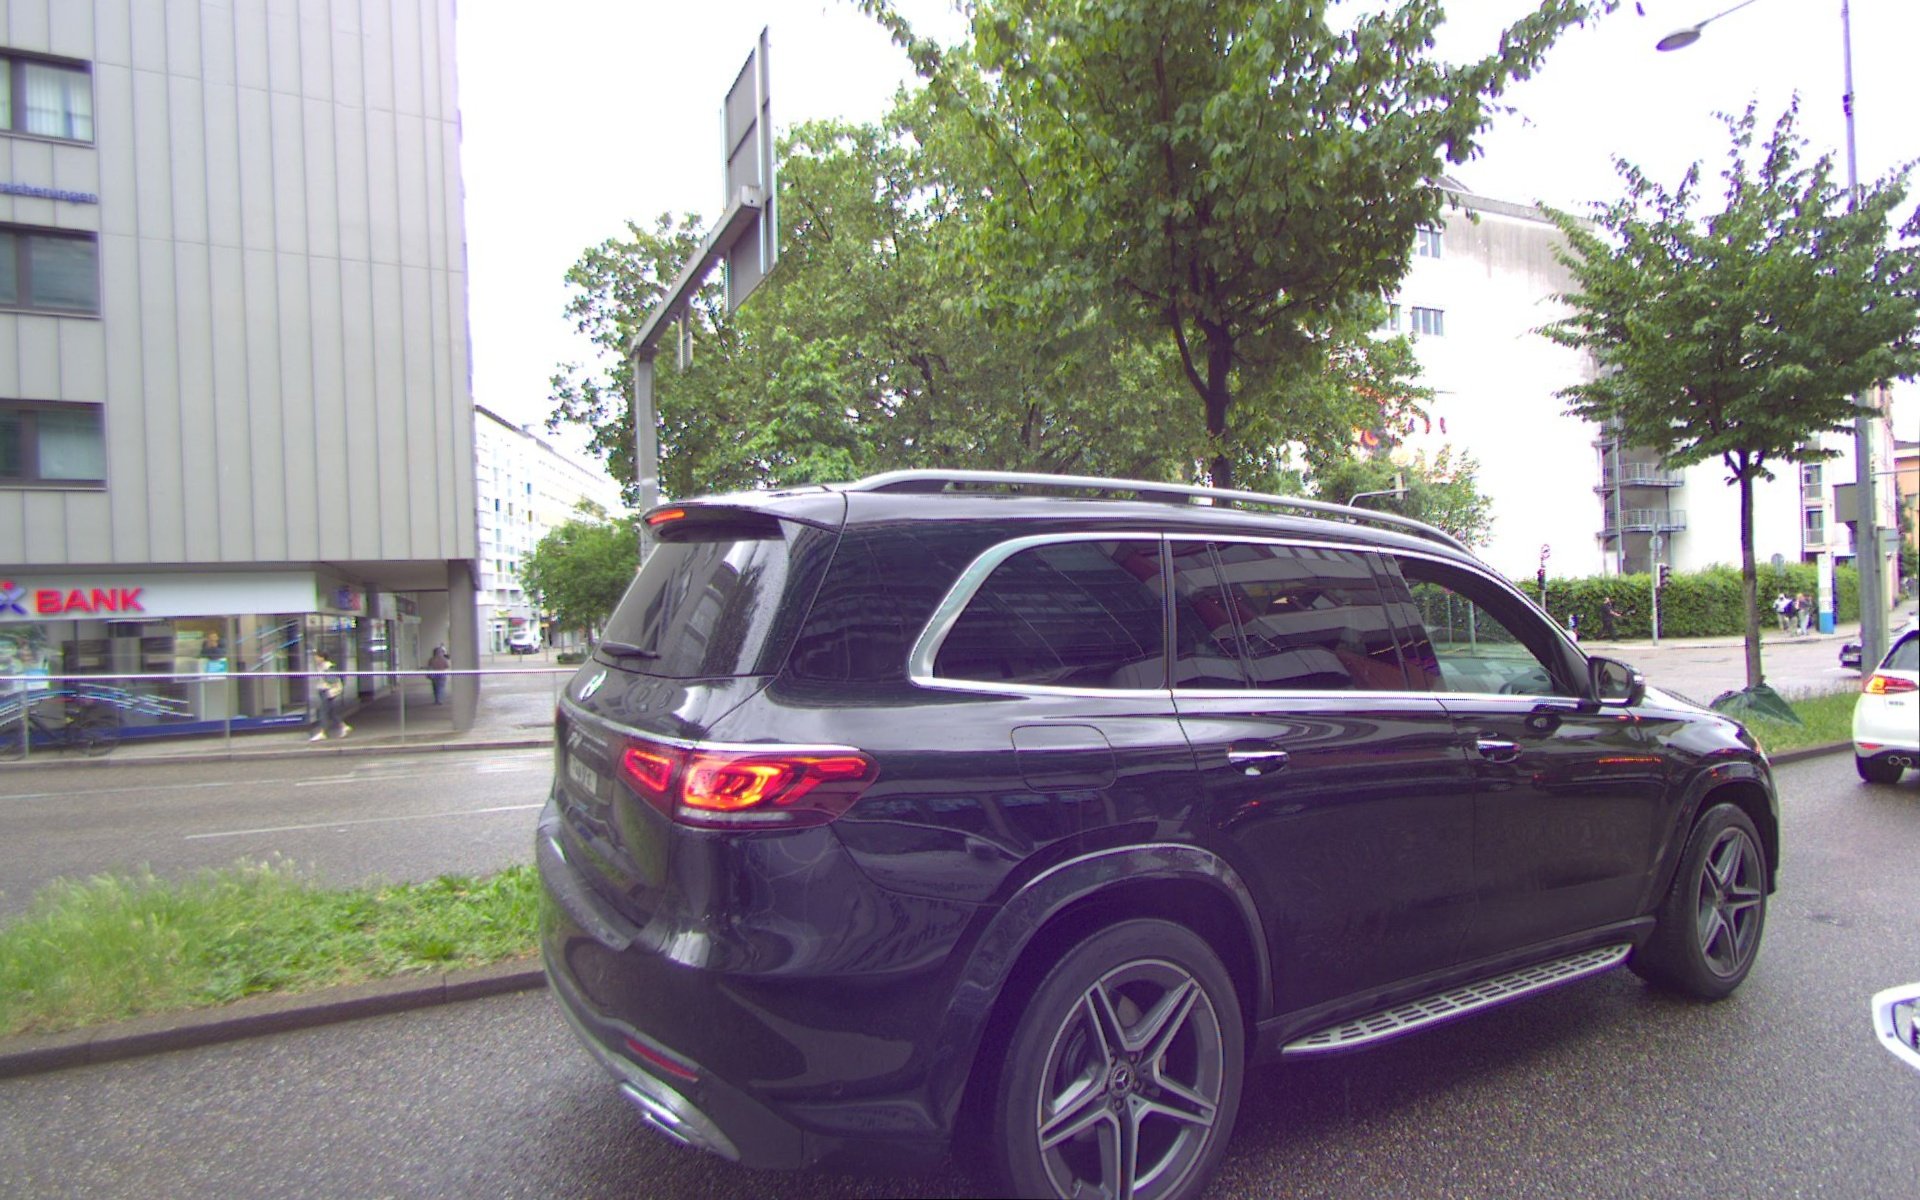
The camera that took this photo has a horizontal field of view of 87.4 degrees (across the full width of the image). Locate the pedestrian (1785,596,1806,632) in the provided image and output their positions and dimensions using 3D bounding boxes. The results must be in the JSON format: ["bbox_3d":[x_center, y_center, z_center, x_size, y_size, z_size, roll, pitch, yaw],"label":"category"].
[{"bbox_3d":[37.430,0.622,45.002,0.522,1.620,0.576,2,-1,-36],"label":"pedestrian"}]

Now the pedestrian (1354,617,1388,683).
[{"bbox_3d":[10.790,1.293,26.363,0.572,1.684,0.554,-2,0,-30],"label":"pedestrian"}]

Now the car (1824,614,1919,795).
[{"bbox_3d":[9.535,0.868,8.948,3.799,1.448,1.768,0,0,-32],"label":"car"}]

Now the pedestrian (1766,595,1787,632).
[{"bbox_3d":[36.392,0.620,44.785,0.522,1.620,0.576,2,-1,-36],"label":"pedestrian"}]

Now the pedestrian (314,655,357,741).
[{"bbox_3d":[-12.590,1.955,20.244,0.630,1.659,0.782,2,-1,-37],"label":"pedestrian"}]

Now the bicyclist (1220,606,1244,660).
[{"bbox_3d":[7.946,0.971,29.333,0.597,1.550,0.634,0,-2,7],"label":"bicyclist"}]

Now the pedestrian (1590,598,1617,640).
[{"bbox_3d":[26.470,0.781,41.306,0.633,1.664,0.726,2,-1,-37],"label":"pedestrian"}]

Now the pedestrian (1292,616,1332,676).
[{"bbox_3d":[10.875,1.409,31.051,0.698,1.807,0.922,2,-1,-19],"label":"pedestrian"}]

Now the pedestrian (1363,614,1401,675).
[{"bbox_3d":[12.044,1.264,28.700,0.620,1.684,0.749,-2,0,-30],"label":"pedestrian"}]

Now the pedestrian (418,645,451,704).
[{"bbox_3d":[-15.724,2.208,30.065,0.719,1.719,0.782,2,-3,-37],"label":"pedestrian"}]

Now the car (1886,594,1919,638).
[{"bbox_3d":[34.322,0.537,35.468,3.571,1.506,1.565,0,1,-33],"label":"car"}]

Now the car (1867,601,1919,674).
[{"bbox_3d":[22.415,0.786,21.193,4.642,1.506,1.639,0,1,13],"label":"car"}]

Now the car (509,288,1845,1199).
[{"bbox_3d":[1.159,0.511,3.816,5.016,1.895,1.901,3,-1,-31],"label":"car"}]

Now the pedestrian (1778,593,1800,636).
[{"bbox_3d":[34.698,0.606,42.054,0.741,1.771,0.535,2,-1,-38],"label":"pedestrian"}]

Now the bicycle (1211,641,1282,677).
[{"bbox_3d":[8.316,1.707,29.238,1.901,1.013,0.617,0,-2,6],"label":"bicycle"}]

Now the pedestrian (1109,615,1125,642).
[{"bbox_3d":[9.853,1.771,62.970,0.723,1.664,0.635,2,-1,-23],"label":"pedestrian"}]

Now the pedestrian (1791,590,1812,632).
[{"bbox_3d":[35.974,0.461,42.949,0.559,1.771,0.535,2,-1,-35],"label":"pedestrian"}]

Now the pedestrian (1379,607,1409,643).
[{"bbox_3d":[19.823,1.133,45.882,0.677,1.599,1.055,2,-1,-34],"label":"pedestrian"}]
